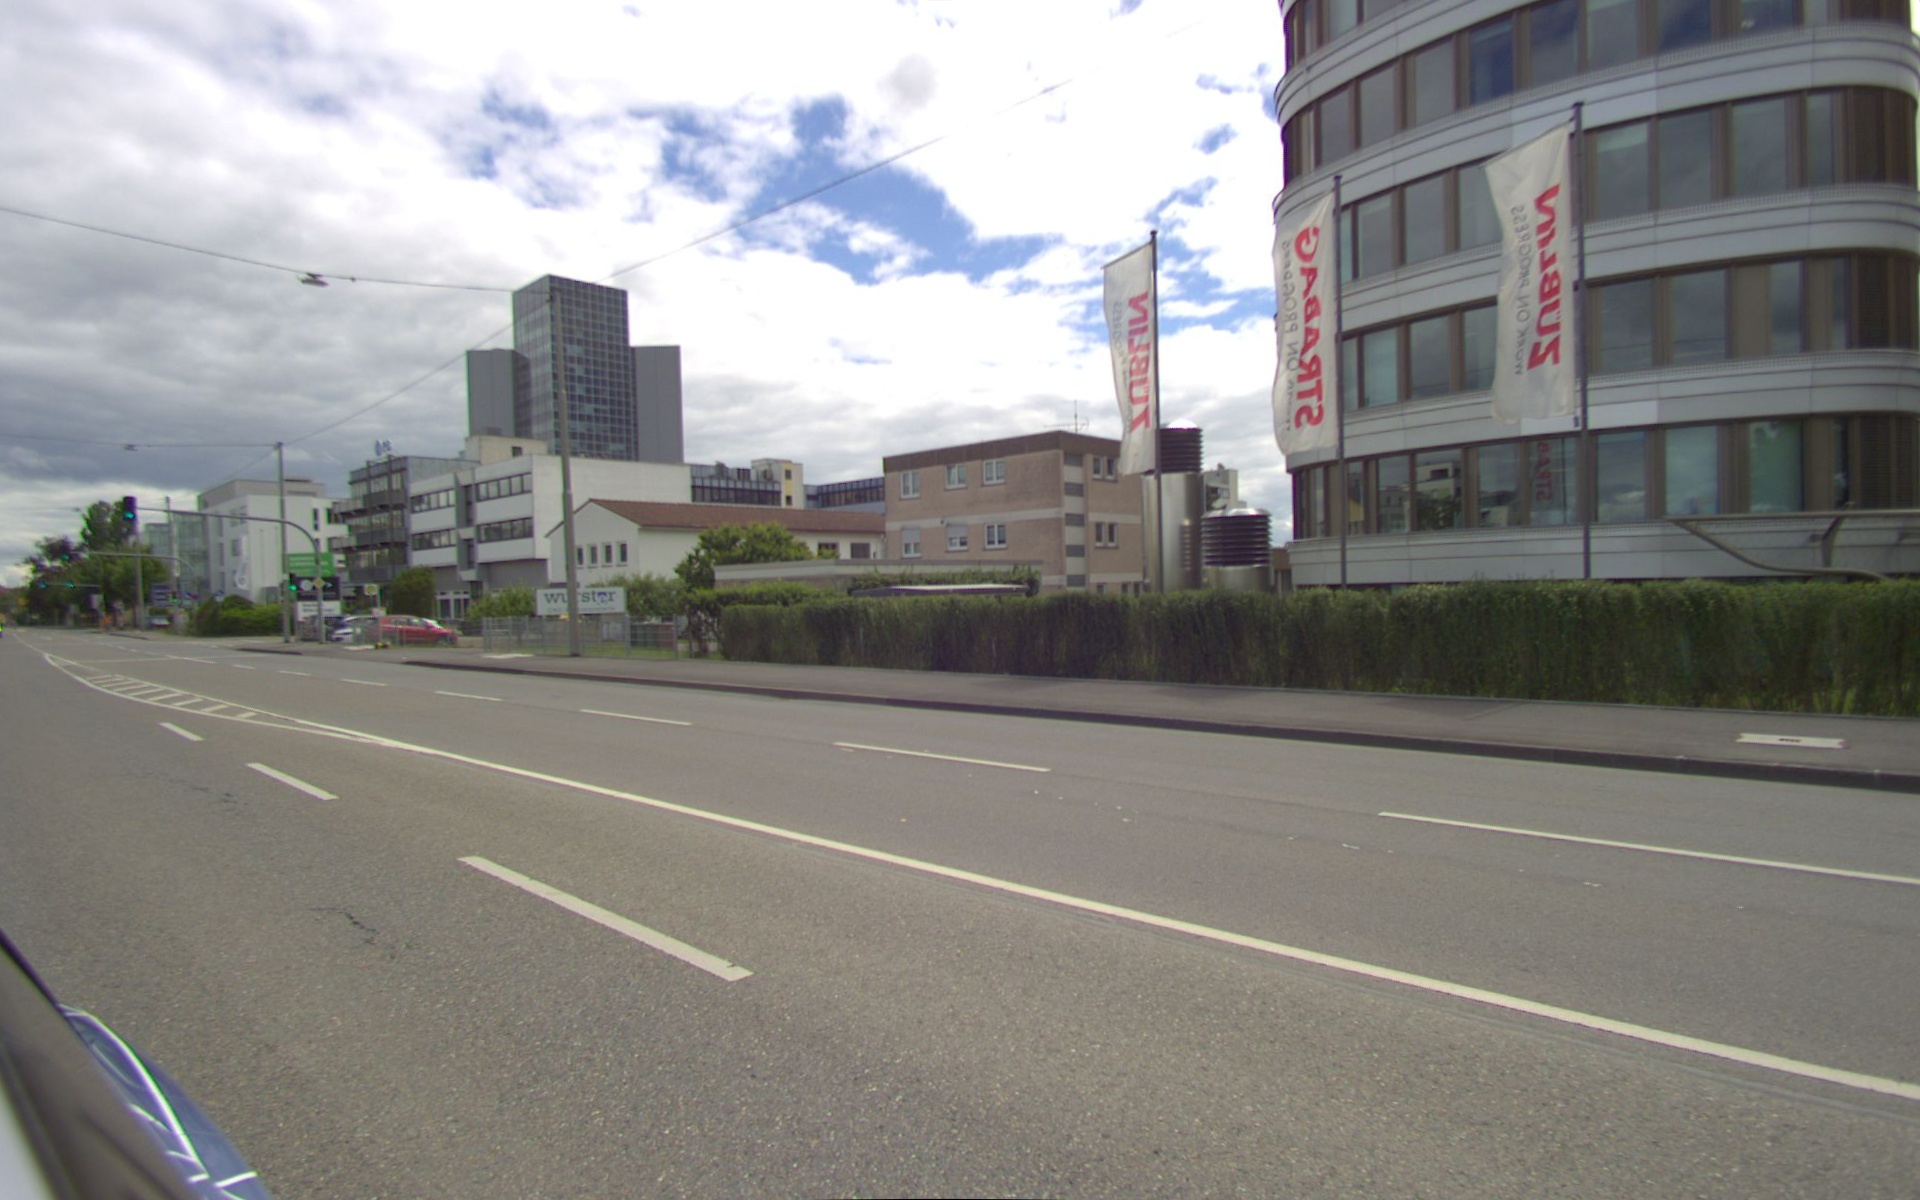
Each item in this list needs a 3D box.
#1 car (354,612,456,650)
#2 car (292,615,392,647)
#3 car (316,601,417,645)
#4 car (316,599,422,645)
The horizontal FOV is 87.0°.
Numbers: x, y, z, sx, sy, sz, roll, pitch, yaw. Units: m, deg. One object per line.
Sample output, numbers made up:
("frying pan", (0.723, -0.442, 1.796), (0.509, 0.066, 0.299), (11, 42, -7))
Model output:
("car", (-25.761, 1.413, 47.039), (1.834, 1.623, 3.754), (-2, -1, 40))
("car", (-31.641, 1.572, 51.897), (1.823, 1.342, 3.946), (-3, 2, 42))
("car", (-29.504, 1.116, 50.408), (1.904, 2.029, 3.944), (-1, 0, 42))
("car", (-28.183, 1.004, 48.331), (1.920, 2.029, 3.944), (-1, 0, 42))
